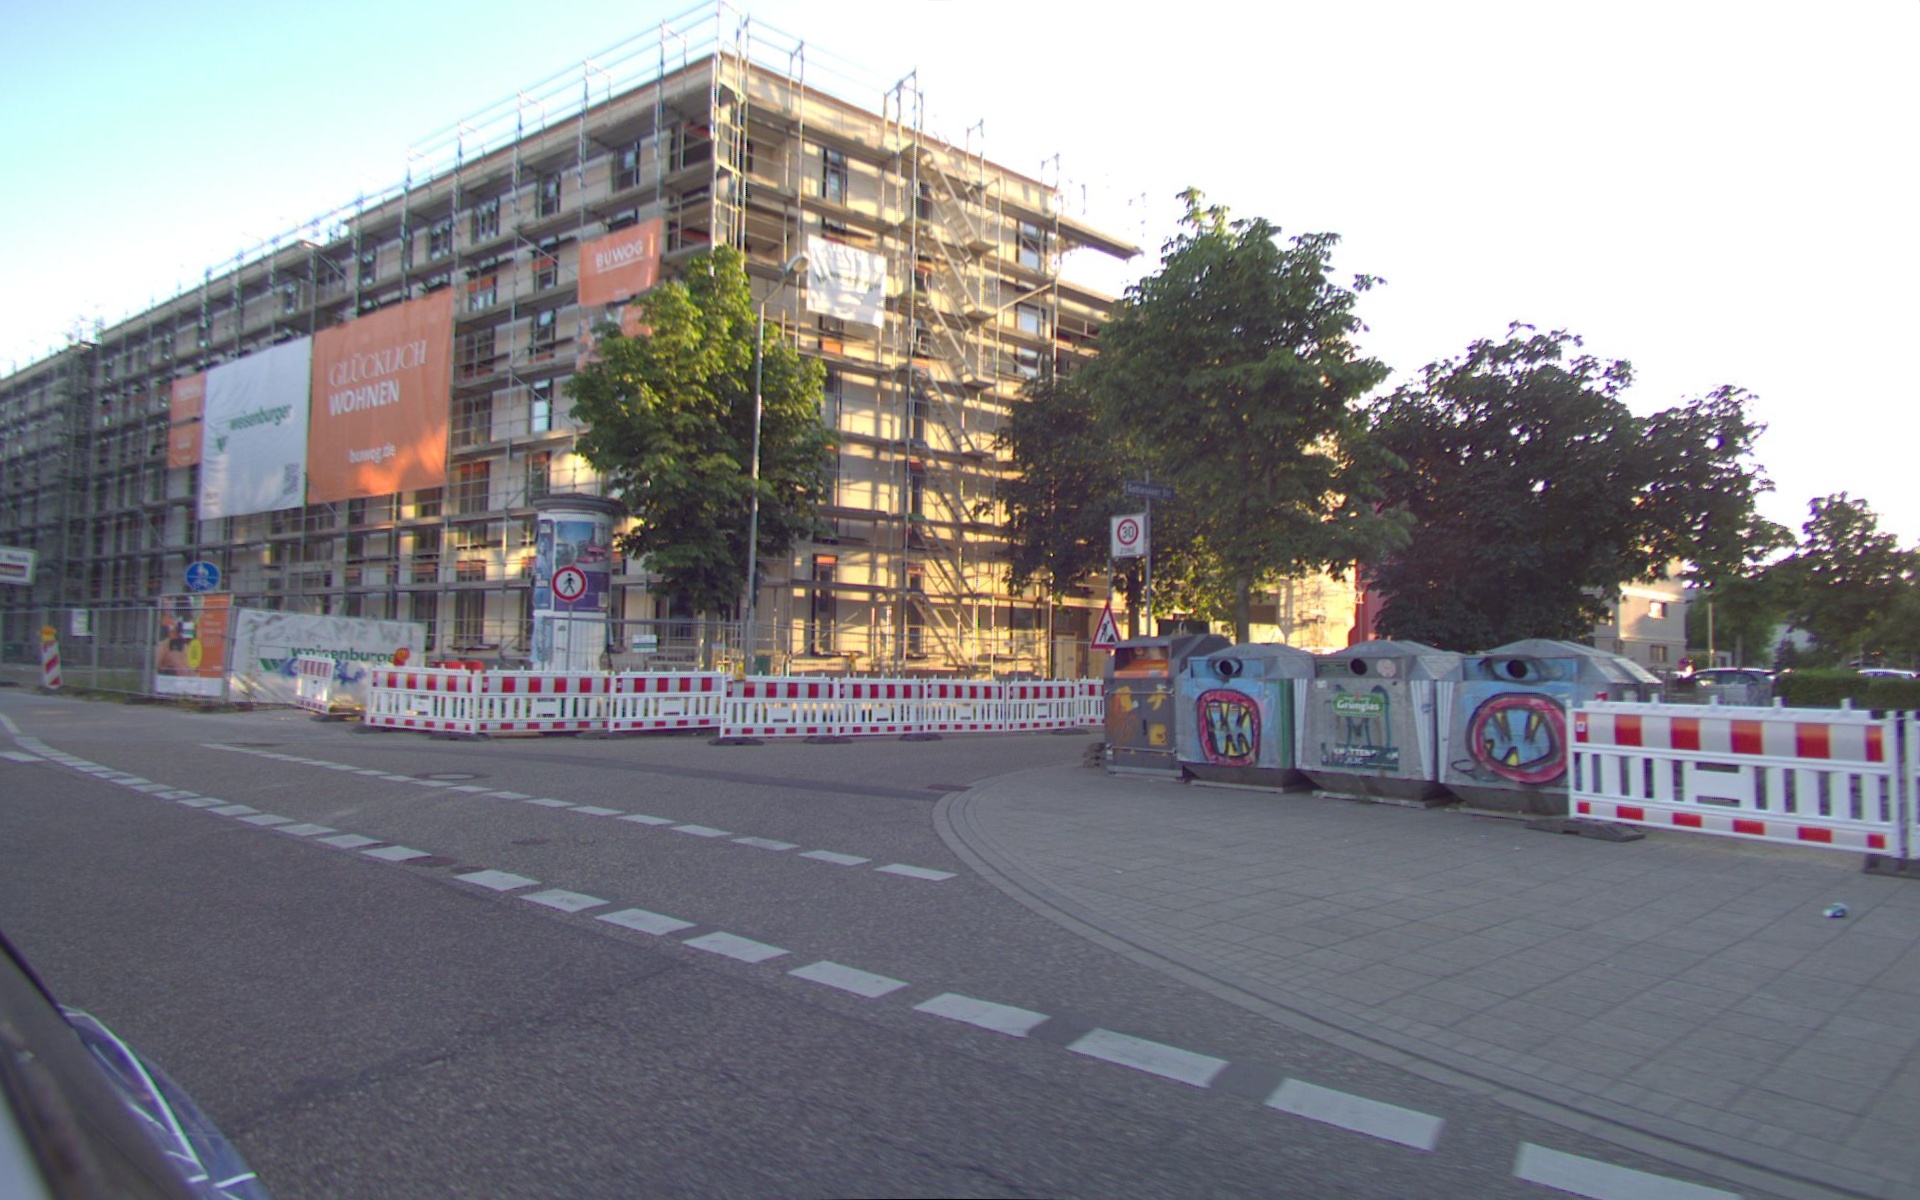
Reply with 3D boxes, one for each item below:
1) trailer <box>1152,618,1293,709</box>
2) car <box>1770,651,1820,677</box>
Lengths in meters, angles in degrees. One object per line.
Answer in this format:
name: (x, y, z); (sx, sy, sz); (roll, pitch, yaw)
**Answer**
trailer: (7.957, 1.937, 30.537); (4.118, 2.559, 2.004); (4, -5, -38)
car: (49.843, 3.814, 60.359); (3.934, 1.481, 1.622); (4, -5, -41)
